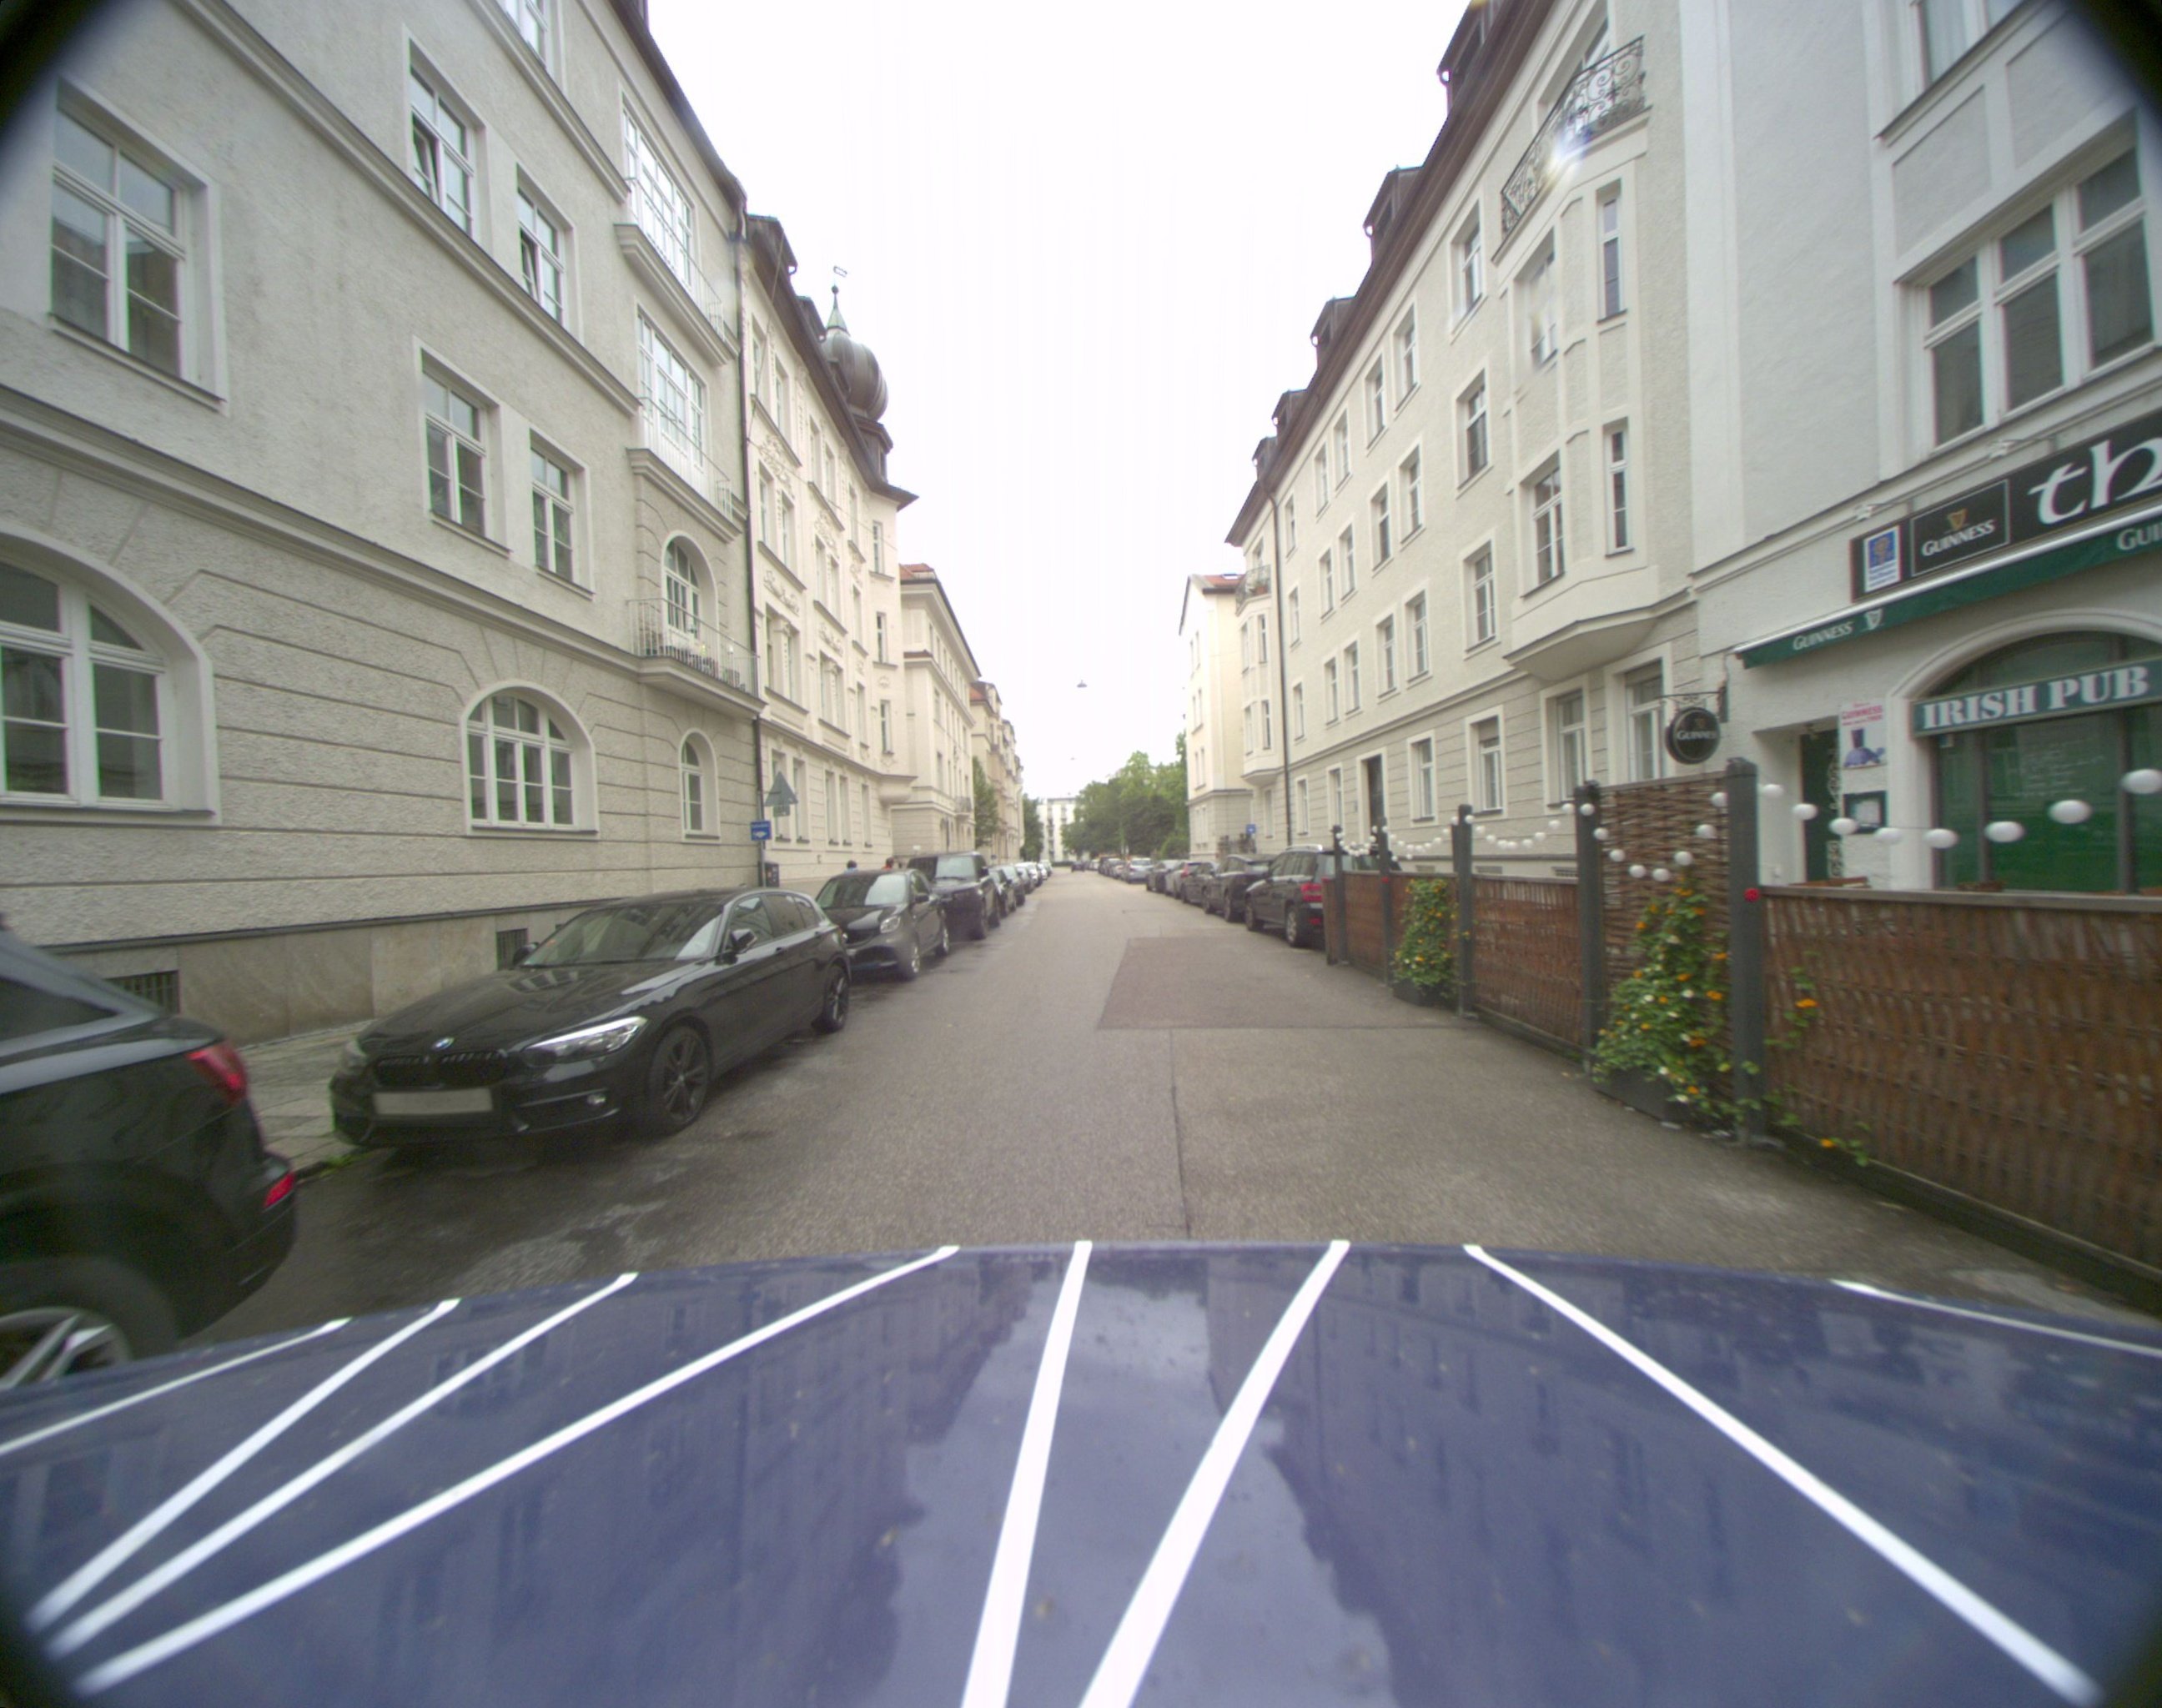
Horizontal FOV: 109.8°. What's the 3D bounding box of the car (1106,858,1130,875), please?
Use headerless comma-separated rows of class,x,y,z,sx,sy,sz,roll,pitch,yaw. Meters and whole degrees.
car,3.390,1.122,70.701,1.773,1.412,3.998,-2,1,-3

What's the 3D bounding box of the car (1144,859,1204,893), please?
car,4.092,0.935,34.114,1.855,1.359,4.701,-2,0,-3

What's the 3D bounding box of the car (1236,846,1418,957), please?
car,4.160,0.736,13.626,1.751,1.663,4.275,1,0,-2

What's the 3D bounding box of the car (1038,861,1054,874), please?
car,-3.911,1.499,85.422,1.646,1.409,4.000,-3,0,0

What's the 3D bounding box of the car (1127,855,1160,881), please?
car,3.903,0.889,47.830,1.701,1.571,4.061,0,0,-1

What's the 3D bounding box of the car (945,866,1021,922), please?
car,-2.873,1.143,22.943,1.668,1.387,3.582,-4,0,1

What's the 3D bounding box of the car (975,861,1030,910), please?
car,-2.882,1.111,28.566,1.712,1.578,3.999,-4,0,-3

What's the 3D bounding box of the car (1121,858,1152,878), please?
car,3.924,0.968,54.112,1.649,1.395,3.999,0,0,-3

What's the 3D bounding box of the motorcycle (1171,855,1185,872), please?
motorcycle,7.465,0.698,58.276,0.706,1.242,1.820,-4,1,-2

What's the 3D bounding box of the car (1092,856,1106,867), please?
car,2.619,1.116,108.946,1.705,1.483,3.955,-1,0,-3

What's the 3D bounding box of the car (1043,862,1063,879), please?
car,-2.623,1.520,70.498,1.667,1.498,4.064,-3,-1,-3

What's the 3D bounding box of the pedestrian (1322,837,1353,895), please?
pedestrian,7.681,0.352,22.757,0.663,1.697,0.701,-2,0,32

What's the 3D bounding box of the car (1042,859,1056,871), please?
car,-4.514,1.511,106.321,1.715,1.462,4.084,-4,0,-4

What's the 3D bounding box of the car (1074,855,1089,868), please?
car,0.045,0.973,102.129,1.729,1.525,4.084,-4,1,-3

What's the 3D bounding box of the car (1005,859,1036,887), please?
car,-3.618,1.125,45.742,1.713,1.492,3.999,-3,0,-4

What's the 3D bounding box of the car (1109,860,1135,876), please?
car,3.575,1.181,67.016,1.740,1.357,4.191,-1,0,-4

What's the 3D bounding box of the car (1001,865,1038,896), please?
car,-3.187,1.340,39.836,1.616,1.387,3.999,-4,0,-2

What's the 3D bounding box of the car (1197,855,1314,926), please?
car,4.069,0.788,18.448,1.746,1.478,4.180,-2,0,-1

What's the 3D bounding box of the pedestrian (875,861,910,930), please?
pedestrian,-4.829,1.058,19.493,0.705,1.718,0.703,-1,0,-3

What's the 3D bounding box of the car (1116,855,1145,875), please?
car,3.807,0.844,58.712,1.802,1.426,4.079,-2,0,-1

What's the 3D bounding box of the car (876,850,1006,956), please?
car,-2.894,0.932,16.808,1.916,1.874,4.713,-5,0,-1

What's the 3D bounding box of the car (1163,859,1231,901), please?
car,4.277,0.907,28.729,1.799,1.411,4.510,0,0,-1

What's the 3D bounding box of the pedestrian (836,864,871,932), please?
pedestrian,-5.681,1.090,19.007,0.681,1.664,0.654,0,0,-3

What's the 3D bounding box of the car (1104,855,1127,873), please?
car,3.442,0.999,76.385,1.811,1.638,4.484,-4,0,-2

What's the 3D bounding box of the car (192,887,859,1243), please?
car,-3.248,1.095,5.682,1.710,1.462,4.202,-2,0,3

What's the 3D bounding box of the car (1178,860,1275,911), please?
car,4.337,0.884,23.399,1.816,1.377,4.442,-1,0,-4

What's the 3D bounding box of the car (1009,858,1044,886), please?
car,-3.484,1.166,49.695,1.900,1.626,4.392,-2,-1,0

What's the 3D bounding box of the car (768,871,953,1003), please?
car,-3.080,1.085,11.388,1.659,1.516,3.637,-3,0,0
